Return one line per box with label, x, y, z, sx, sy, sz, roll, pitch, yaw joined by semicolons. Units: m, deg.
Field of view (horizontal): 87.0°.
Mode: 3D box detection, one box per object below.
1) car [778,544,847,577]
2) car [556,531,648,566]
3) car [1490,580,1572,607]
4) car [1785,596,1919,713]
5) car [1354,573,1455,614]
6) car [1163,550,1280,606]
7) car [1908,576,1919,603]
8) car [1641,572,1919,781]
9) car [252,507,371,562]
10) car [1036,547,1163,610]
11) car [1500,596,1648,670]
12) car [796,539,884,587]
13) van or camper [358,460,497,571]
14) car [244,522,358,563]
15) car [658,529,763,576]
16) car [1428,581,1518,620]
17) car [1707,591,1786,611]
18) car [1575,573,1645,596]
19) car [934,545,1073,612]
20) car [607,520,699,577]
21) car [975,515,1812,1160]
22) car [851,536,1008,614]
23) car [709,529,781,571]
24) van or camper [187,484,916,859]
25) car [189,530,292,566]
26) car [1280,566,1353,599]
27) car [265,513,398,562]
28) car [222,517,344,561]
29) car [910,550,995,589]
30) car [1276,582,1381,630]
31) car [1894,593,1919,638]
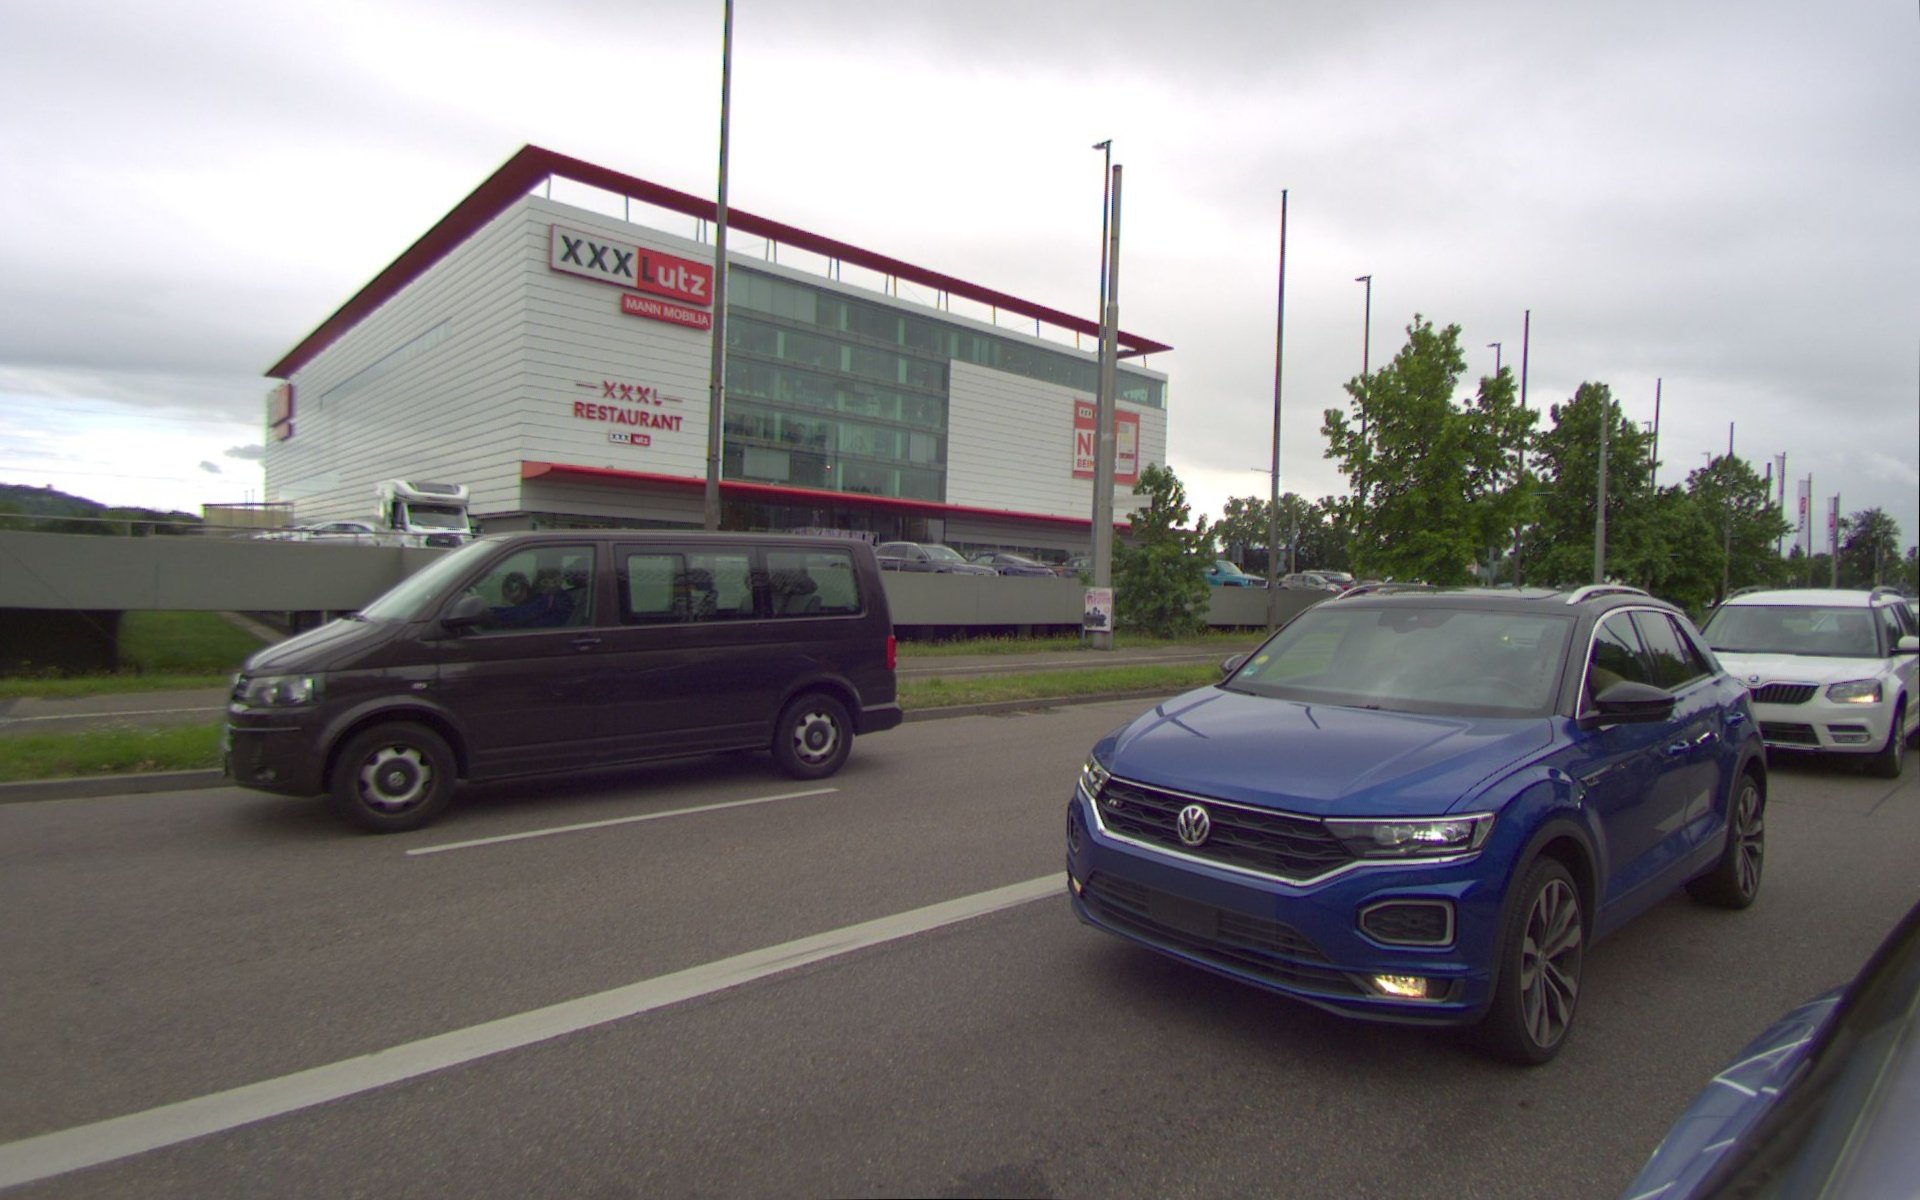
car;-8.329;-2.189;57.002;1.967;1.761;3.991;-1;0;-43
car;-18.722;-2.661;53.011;4.185;1.697;1.774;-1;0;-41
car;35.025;-0.412;62.140;1.765;1.585;3.994;-1;0;-40
car;13.314;0.676;14.364;4.145;1.433;1.800;-1;0;-41
car;22.645;-0.332;51.632;1.966;2.039;4.317;0;0;-42
car;10.072;-0.810;39.192;1.966;2.039;3.991;0;0;-42
car;83.616;-0.885;87.623;3.933;2.270;1.996;1;1;-44
car;8.525;0.580;10.074;4.297;1.645;1.798;-1;0;-40
car;-26.778;-2.662;41.824;3.929;2.039;1.998;-1;0;-40
car;4.709;-0.708;34.588;1.966;2.039;3.991;0;0;-42
car;12.962;0.617;21.282;3.860;1.389;1.691;-1;1;-43
car;-5.472;-1.629;45.811;1.965;2.039;4.174;0;0;-41
van or camper;-18.002;-2.636;33.950;2.667;3.175;7.226;0;0;-40
car;-30.177;-2.595;46.417;4.185;1.697;1.774;-1;0;-41
car;-8.688;-1.599;35.099;1.839;1.455;3.984;-1;1;-44
car;28.052;0.014;55.413;1.965;2.039;3.994;0;0;-41
car;55.975;0.060;72.104;1.771;1.433;4.212;-1;1;-41
car;47.501;-1.115;73.992;1.765;1.585;3.994;-1;0;-40
car;1.257;-0.624;30.621;1.967;1.872;3.991;-1;0;-43
car;-11.714;-1.910;38.459;1.839;1.972;3.859;0;0;-44
car;2.272;0.579;4.666;4.255;1.642;1.845;-1;0;-40
car;-0.928;-0.673;28.655;1.967;2.039;4.522;0;0;-43
car;-11.367;-2.574;53.385;1.966;2.039;3.991;0;0;-42
van or camper;-2.940;0.359;7.860;4.852;2.039;2.163;-1;0;-38
car;-36.781;-2.626;51.777;4.185;1.697;1.774;-1;0;-41
car;22.846;-1.095;64.979;1.966;2.039;3.991;0;0;-42
car;-24.317;-2.373;39.222;4.185;1.697;1.774;-1;0;-41
car;-29.051;-2.588;43.482;4.185;1.697;1.774;-1;0;-41
car;-0.399;-1.445;48.952;1.967;1.761;3.991;-1;0;-43
car;16.407;0.229;45.178;1.966;2.039;3.991;0;0;-42
car;37.035;0.568;38.415;4.297;1.645;1.798;-1;0;-40
